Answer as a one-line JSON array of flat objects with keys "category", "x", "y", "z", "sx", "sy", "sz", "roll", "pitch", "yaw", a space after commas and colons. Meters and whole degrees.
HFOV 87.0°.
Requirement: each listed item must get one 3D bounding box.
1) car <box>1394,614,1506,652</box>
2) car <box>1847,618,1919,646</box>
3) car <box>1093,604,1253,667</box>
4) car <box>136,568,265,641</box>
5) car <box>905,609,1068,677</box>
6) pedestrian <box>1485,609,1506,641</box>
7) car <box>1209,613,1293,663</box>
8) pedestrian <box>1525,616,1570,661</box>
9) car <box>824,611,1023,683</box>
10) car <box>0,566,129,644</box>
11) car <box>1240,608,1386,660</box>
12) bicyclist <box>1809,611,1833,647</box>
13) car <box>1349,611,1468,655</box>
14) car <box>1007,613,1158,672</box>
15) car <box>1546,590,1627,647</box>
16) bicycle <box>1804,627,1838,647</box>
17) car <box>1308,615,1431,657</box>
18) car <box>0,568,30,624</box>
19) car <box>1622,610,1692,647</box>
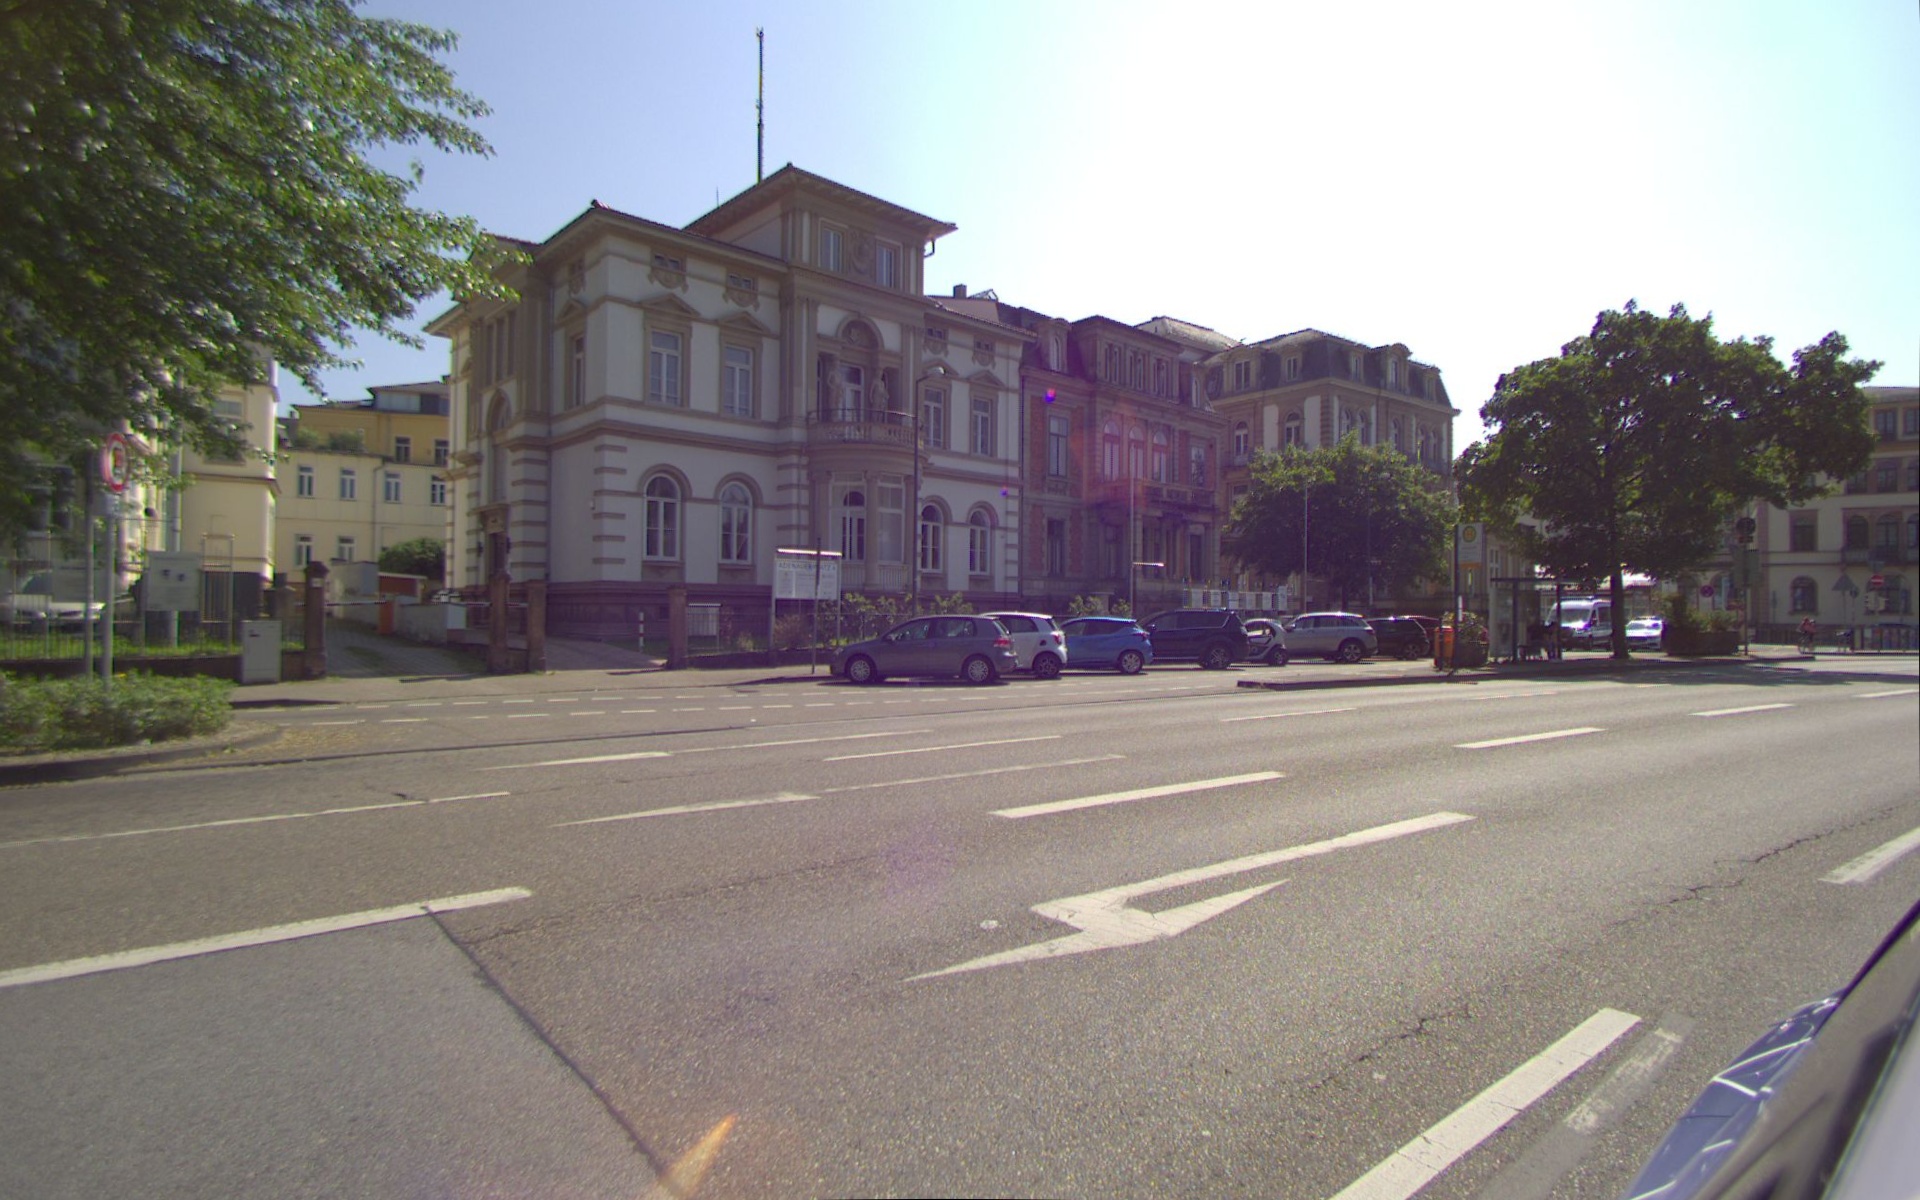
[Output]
[{"category": "car", "x": 19.494, "y": 1.299, "z": 40.412, "sx": 3.641, "sy": 1.436, "sz": 1.744, "roll": 0, "pitch": -1, "yaw": 10}, {"category": "car", "x": 55.122, "y": 1.885, "z": 59.862, "sx": 3.961, "sy": 1.470, "sz": 1.764, "roll": 2, "pitch": 1, "yaw": 44}, {"category": "car", "x": 5.949, "y": 0.971, "z": 28.623, "sx": 4.197, "sy": 1.718, "sz": 1.712, "roll": 0, "pitch": -1, "yaw": 4}, {"category": "car", "x": -15.610, "y": 0.084, "z": 20.932, "sx": 1.954, "sy": 1.353, "sz": 4.053, "roll": 1, "pitch": 0, "yaw": -36}, {"category": "car", "x": 0.682, "y": 0.995, "z": 24.062, "sx": 3.746, "sy": 1.531, "sz": 1.710, "roll": 0, "pitch": -1, "yaw": 7}, {"category": "pedestrian", "x": 29.753, "y": 1.371, "z": 56.241, "sx": 0.818, "sy": 1.762, "sz": 0.739, "roll": -1, "pitch": -2, "yaw": 45}, {"category": "car", "x": 8.935, "y": 1.157, "z": 31.171, "sx": 2.245, "sy": 1.502, "sz": 1.201, "roll": 0, "pitch": -1, "yaw": 0}, {"category": "pedestrian", "x": 16.278, "y": 1.043, "z": 28.045, "sx": 1.015, "sy": 1.213, "sz": 0.781, "roll": -1, "pitch": -1, "yaw": 36}, {"category": "car", "x": -0.734, "y": 0.975, "z": 21.987, "sx": 4.041, "sy": 1.480, "sz": 1.822, "roll": 0, "pitch": -1, "yaw": 11}, {"category": "car", "x": -17.385, "y": 0.083, "z": 19.510, "sx": 1.825, "sy": 1.353, "sz": 4.053, "roll": 1, "pitch": 0, "yaw": -36}, {"category": "car", "x": 11.603, "y": 1.106, "z": 33.518, "sx": 4.241, "sy": 1.650, "sz": 1.710, "roll": 0, "pitch": -1, "yaw": 6}, {"category": "bicyclist", "x": 38.517, "y": 1.291, "z": 45.269, "sx": 0.670, "sy": 1.627, "sz": 0.594, "roll": 1, "pitch": -1, "yaw": -29}, {"category": "car", "x": 17.039, "y": 1.241, "z": 38.628, "sx": 3.815, "sy": 1.595, "sz": 1.744, "roll": 0, "pitch": -1, "yaw": 10}, {"category": "car", "x": 3.079, "y": 1.064, "z": 26.081, "sx": 3.742, "sy": 1.461, "sz": 1.712, "roll": 0, "pitch": -1, "yaw": 4}, {"category": "car", "x": 30.193, "y": 0.887, "z": 48.688, "sx": 5.228, "sy": 2.637, "sz": 1.995, "roll": 1, "pitch": -2, "yaw": -43}, {"category": "bicycle", "x": 38.520, "y": 1.662, "z": 45.266, "sx": 1.709, "sy": 0.866, "sz": 0.594, "roll": 1, "pitch": -1, "yaw": -29}, {"category": "car", "x": 14.473, "y": 1.254, "z": 35.951, "sx": 3.759, "sy": 1.435, "sz": 1.601, "roll": 0, "pitch": -1, "yaw": 10}, {"category": "car", "x": -26.256, "y": -0.120, "z": 26.868, "sx": 1.787, "sy": 1.437, "sz": 4.062, "roll": 1, "pitch": 0, "yaw": -36}, {"category": "car", "x": 32.674, "y": 1.317, "z": 47.404, "sx": 4.799, "sy": 1.647, "sz": 1.817, "roll": 1, "pitch": -2, "yaw": -44}]
